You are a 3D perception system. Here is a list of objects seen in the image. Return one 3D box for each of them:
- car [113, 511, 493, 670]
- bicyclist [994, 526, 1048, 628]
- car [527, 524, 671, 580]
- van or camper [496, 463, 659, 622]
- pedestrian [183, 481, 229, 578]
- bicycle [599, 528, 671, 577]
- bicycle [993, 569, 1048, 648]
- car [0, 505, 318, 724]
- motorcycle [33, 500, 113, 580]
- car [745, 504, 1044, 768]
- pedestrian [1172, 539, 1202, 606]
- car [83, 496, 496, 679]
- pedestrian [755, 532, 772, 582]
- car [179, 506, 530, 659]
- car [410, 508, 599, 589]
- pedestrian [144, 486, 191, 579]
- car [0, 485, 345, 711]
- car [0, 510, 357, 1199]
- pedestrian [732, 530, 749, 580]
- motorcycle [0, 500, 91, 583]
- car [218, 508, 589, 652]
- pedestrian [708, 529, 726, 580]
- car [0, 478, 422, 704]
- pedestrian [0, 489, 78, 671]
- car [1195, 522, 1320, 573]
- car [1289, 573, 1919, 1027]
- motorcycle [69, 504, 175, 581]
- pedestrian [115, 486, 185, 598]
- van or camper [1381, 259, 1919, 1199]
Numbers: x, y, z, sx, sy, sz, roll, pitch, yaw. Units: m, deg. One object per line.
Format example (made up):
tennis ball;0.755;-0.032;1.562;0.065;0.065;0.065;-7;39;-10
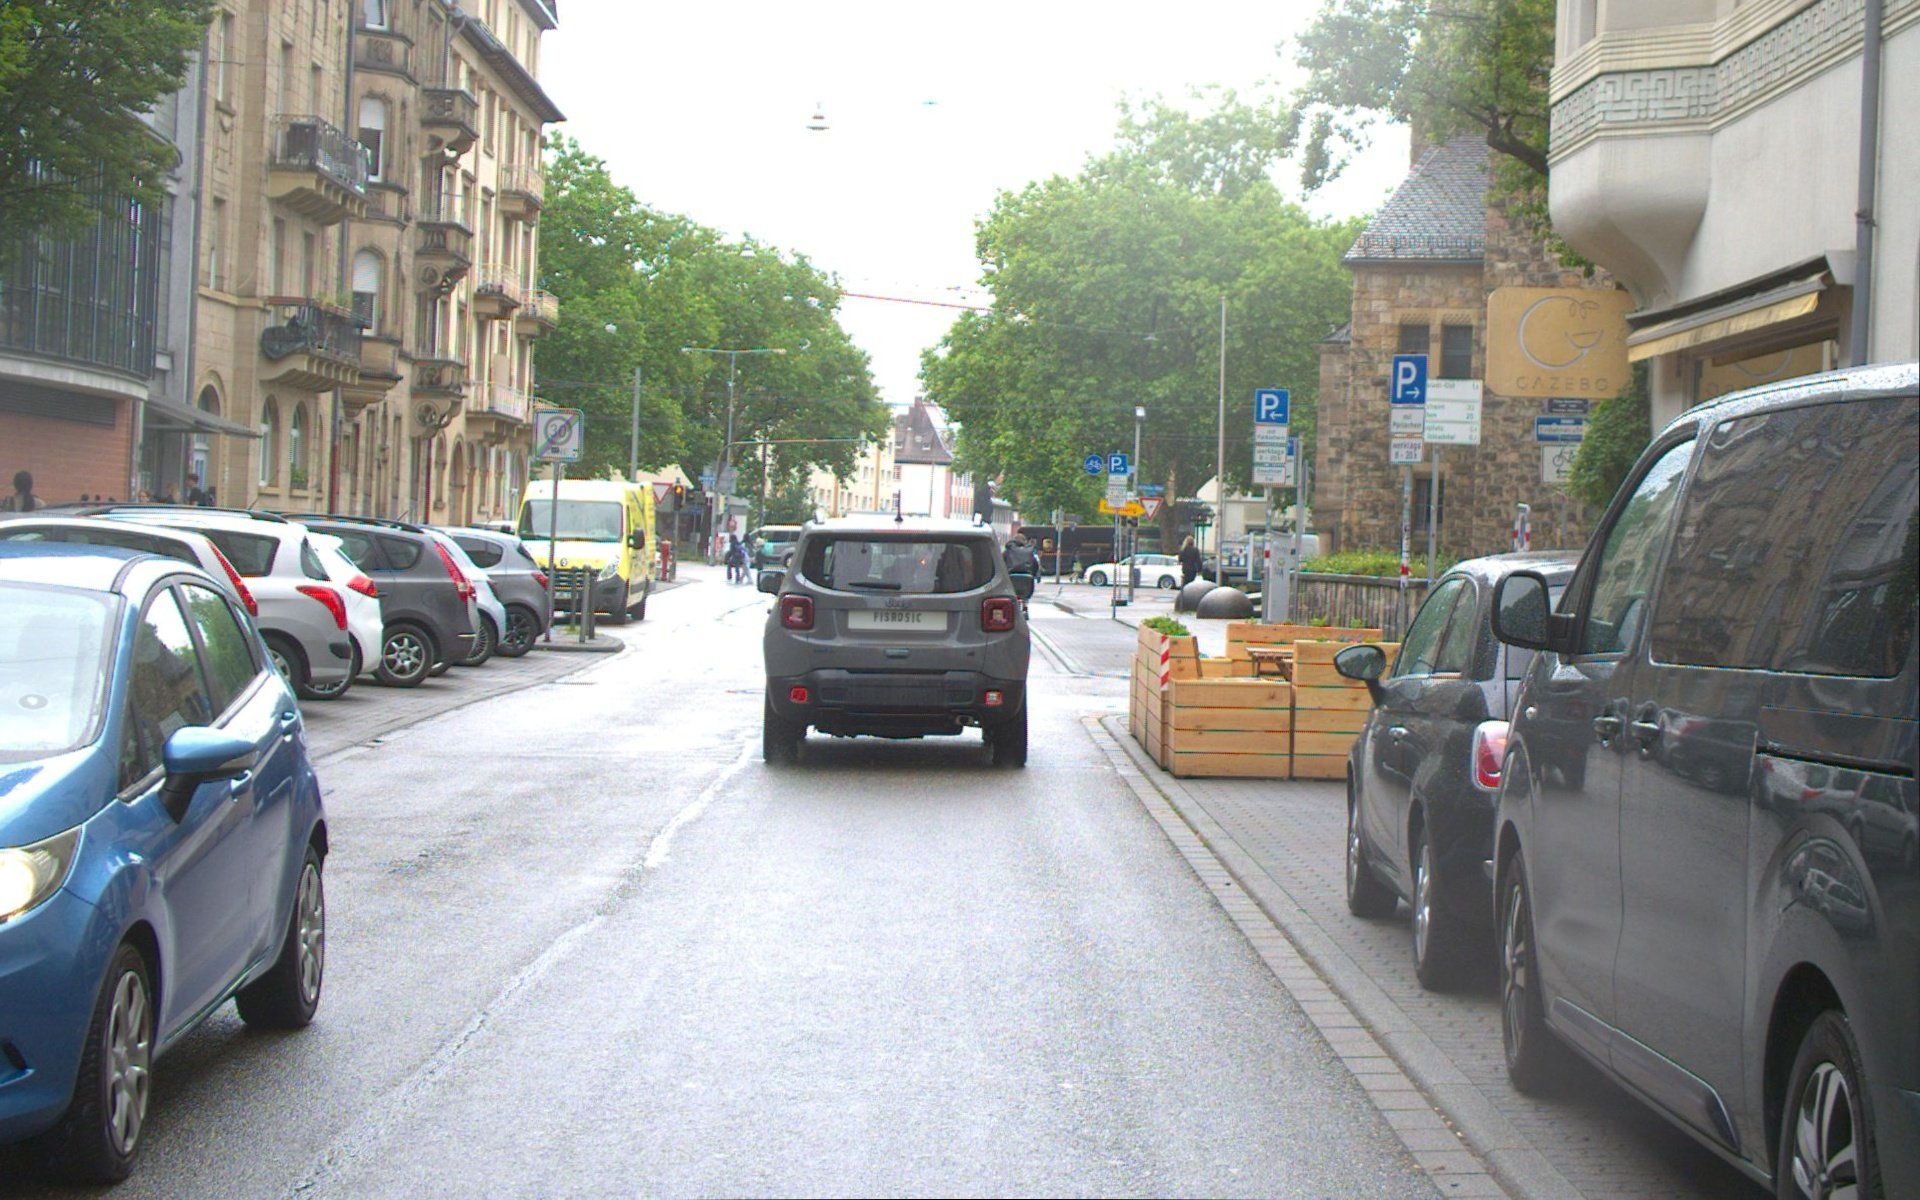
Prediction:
car;-6.716;-0.090;35.192;3.375;1.453;1.681;2;1;-34
bicyclist;0.859;-0.336;48.382;0.705;1.399;1.171;1;1;0
car;-9.924;-1.315;94.540;3.413;1.311;1.779;3;0;-33
van or camper;-6.630;-0.925;60.318;2.121;2.522;6.875;-1;-1;-1
pedestrian;-13.872;-1.296;63.242;0.660;1.751;0.797;1;1;-24
bicycle;-9.915;-1.446;104.952;2.092;1.439;0.491;1;1;-20
bicycle;0.844;0.109;48.388;0.705;1.050;1.813;1;1;0
car;-6.497;0.076;23.659;3.702;1.447;1.685;1;1;-35
motorcycle;-13.957;-0.952;54.132;0.753;1.170;2.116;5;1;-4
car;-0.483;0.201;24.647;1.898;1.665;4.506;2;1;-1
pedestrian;5.897;-0.721;89.492;0.690;1.705;0.684;1;1;0
car;-6.294;-0.112;32.330;3.375;1.536;1.681;2;1;-31
pedestrian;-6.277;-1.368;109.959;0.467;1.580;0.752;2;1;-1
car;-6.667;-0.188;37.879;3.375;1.502;1.681;2;1;-30
car;-10.077;-1.131;76.077;3.653;1.553;1.799;3;0;-36
pedestrian;-14.508;-1.240;62.952;0.660;1.669;0.797;1;1;-24
car;-6.631;-0.027;26.371;3.375;1.648;1.634;1;1;-33
car;-2.719;0.497;8.885;1.669;1.460;4.004;2;1;-1
pedestrian;-6.985;-1.437;109.379;0.467;1.580;0.752;2;1;-1
motorcycle;-13.828;-0.885;51.981;0.753;1.170;2.116;5;1;0
car;-6.577;-0.235;40.663;3.818;1.502;1.989;2;1;-30
pedestrian;-7.687;-1.442;108.710;0.467;1.580;0.659;2;1;-1
car;-7.120;-0.113;28.755;4.510;1.534;2.338;6;-2;-33
pedestrian;-9.397;-0.206;34.305;0.825;1.746;0.757;5;1;7
car;14.356;-2.539;166.097;5.905;2.326;2.059;2;1;4
car;2.310;0.633;12.945;1.710;1.396;3.705;1;1;-1
motorcycle;-13.696;-0.935;56.256;0.754;1.170;2.114;5;1;12
pedestrian;-11.632;-0.831;49.364;0.709;1.546;0.607;5;1;7
van or camper;2.300;0.412;7.603;2.021;1.884;5.055;1;1;-1
